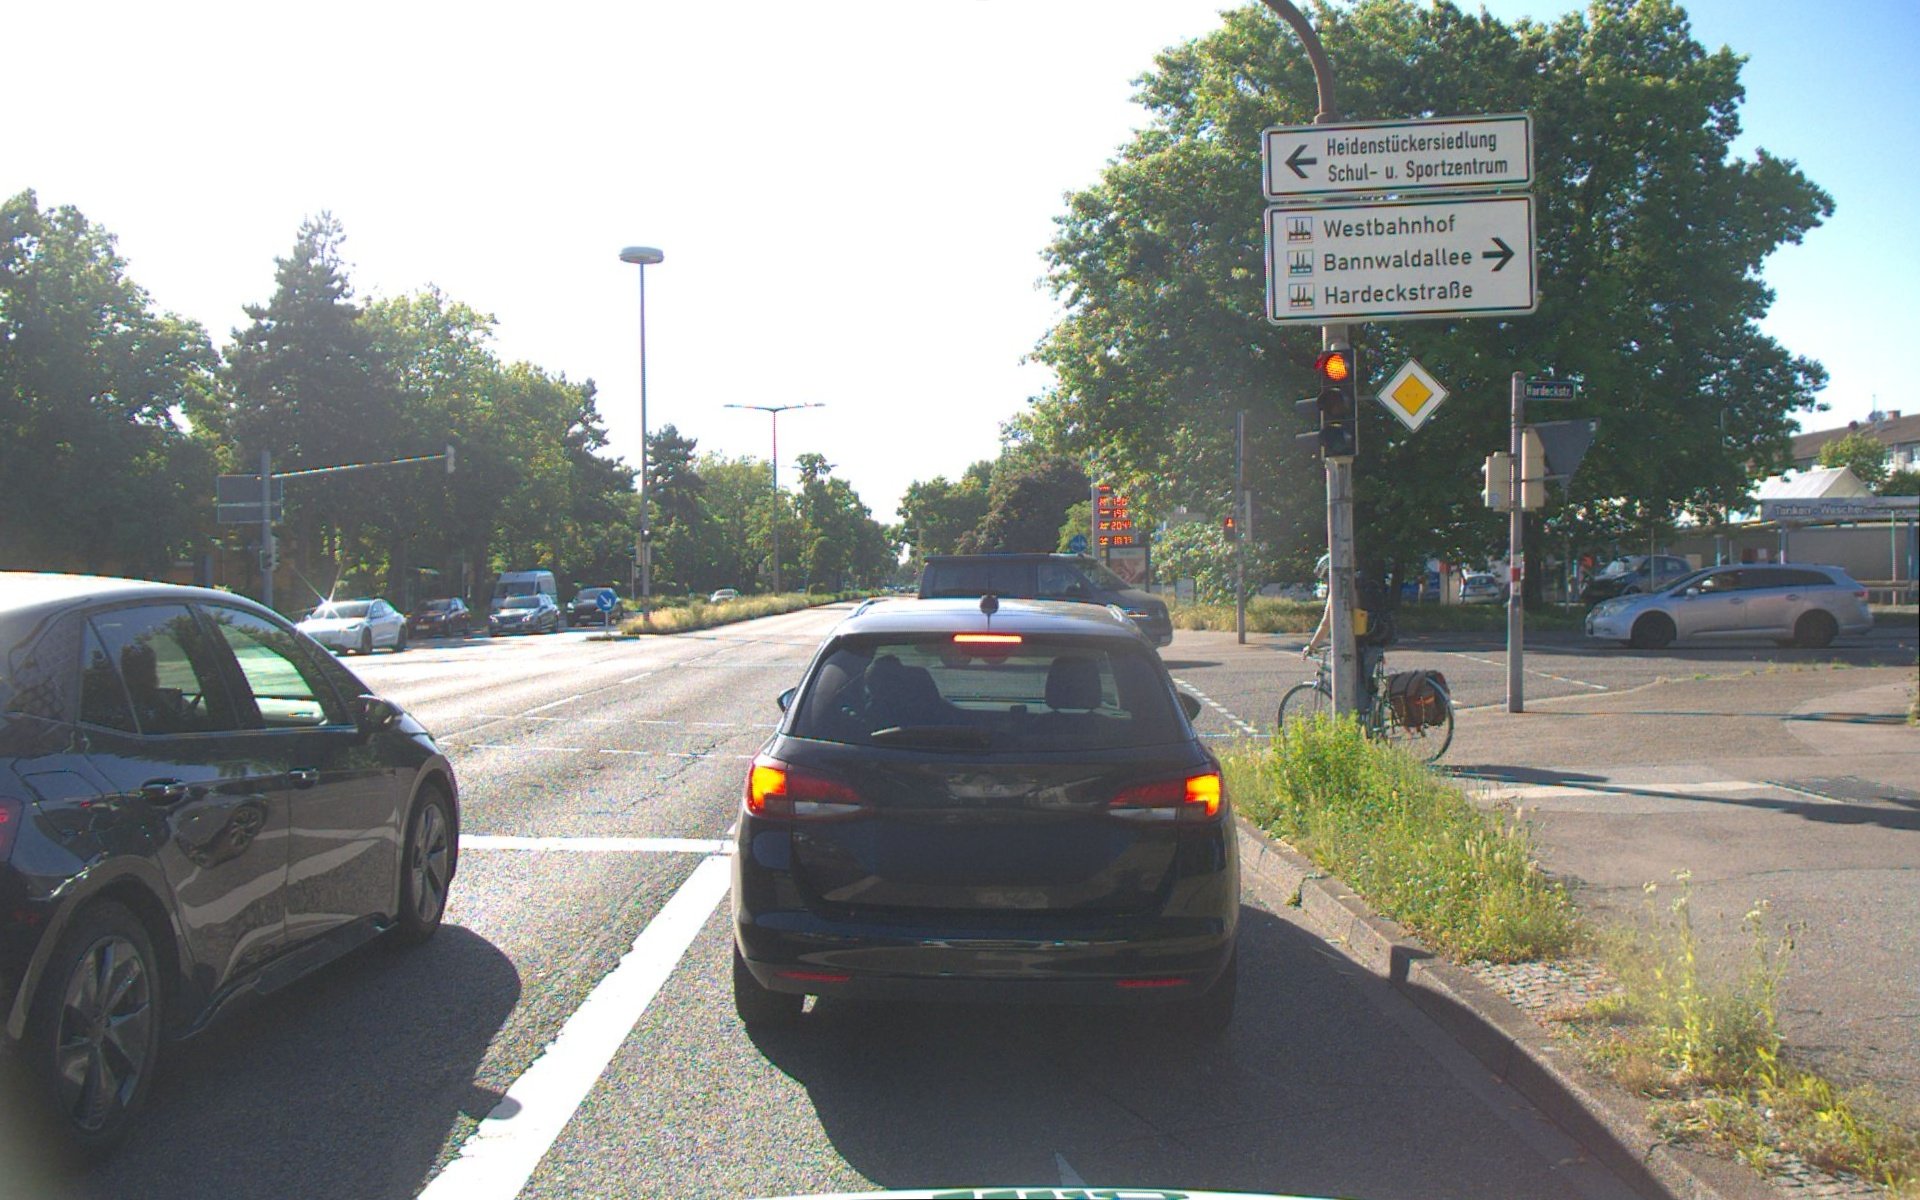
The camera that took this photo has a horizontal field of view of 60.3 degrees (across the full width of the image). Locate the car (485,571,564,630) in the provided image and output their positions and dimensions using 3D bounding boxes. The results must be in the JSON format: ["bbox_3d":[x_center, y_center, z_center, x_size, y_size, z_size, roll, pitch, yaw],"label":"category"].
[{"bbox_3d":[-19.940,0.003,76.039,2.057,2.536,6.003,-1,0,-1],"label":"car"}]

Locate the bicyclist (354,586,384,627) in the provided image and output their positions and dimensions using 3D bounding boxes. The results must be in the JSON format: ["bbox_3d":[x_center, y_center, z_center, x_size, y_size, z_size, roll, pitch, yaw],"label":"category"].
[{"bbox_3d":[-24.744,0.257,69.241,0.859,1.677,1.198,-2,0,-6],"label":"bicyclist"}]

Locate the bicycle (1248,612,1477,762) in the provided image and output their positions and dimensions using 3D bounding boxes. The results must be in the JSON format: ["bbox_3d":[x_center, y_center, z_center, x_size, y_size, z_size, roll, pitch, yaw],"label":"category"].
[{"bbox_3d":[3.225,0.701,13.371,0.533,1.117,1.748,-2,-2,-44],"label":"bicycle"}]

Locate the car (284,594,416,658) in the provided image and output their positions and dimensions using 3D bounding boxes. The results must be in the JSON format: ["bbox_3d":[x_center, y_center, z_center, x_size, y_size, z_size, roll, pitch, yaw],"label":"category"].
[{"bbox_3d":[-16.141,0.640,44.010,1.850,1.551,4.503,-1,0,-1],"label":"car"}]

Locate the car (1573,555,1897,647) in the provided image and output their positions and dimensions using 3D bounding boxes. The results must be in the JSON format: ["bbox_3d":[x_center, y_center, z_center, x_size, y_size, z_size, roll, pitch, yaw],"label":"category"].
[{"bbox_3d":[13.761,0.025,29.662,4.897,1.512,2.002,-1,0,11],"label":"car"}]

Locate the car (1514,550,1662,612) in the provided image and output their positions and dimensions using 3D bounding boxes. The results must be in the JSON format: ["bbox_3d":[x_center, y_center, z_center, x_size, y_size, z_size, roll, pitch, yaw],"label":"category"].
[{"bbox_3d":[19.000,-0.579,50.032,3.935,1.780,1.985,-2,1,-24],"label":"car"}]

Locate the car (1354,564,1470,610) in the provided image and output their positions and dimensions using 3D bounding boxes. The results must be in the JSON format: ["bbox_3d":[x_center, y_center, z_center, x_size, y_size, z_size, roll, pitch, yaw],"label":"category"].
[{"bbox_3d":[16.429,-0.468,60.061,3.837,1.544,1.732,-2,0,-24],"label":"car"}]

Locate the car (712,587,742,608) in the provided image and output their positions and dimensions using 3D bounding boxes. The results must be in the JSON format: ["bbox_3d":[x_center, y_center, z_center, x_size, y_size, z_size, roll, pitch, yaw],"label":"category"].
[{"bbox_3d":[-17.603,-0.205,124.962,1.740,1.488,4.164,-1,0,-1],"label":"car"}]

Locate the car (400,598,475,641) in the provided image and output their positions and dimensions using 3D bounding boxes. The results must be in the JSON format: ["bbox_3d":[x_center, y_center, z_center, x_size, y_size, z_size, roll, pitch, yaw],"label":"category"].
[{"bbox_3d":[-20.145,0.716,63.903,1.652,1.535,4.003,-1,0,-1],"label":"car"}]

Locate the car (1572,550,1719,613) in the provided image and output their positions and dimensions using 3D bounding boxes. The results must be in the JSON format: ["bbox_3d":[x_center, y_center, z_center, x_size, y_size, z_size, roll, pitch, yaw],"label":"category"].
[{"bbox_3d":[19.986,-0.537,48.197,3.934,1.709,1.732,-2,0,-24],"label":"car"}]

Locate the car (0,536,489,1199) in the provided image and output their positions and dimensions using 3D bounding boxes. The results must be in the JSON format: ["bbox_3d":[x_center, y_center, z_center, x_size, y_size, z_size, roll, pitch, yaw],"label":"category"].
[{"bbox_3d":[-2.999,0.660,5.605,1.650,1.608,4.206,0,0,-1],"label":"car"}]

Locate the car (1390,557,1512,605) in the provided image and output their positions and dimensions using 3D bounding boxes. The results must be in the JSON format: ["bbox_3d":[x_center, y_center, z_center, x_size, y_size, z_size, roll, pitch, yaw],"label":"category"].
[{"bbox_3d":[16.906,-0.655,56.986,3.837,1.544,1.732,-2,0,-24],"label":"car"}]

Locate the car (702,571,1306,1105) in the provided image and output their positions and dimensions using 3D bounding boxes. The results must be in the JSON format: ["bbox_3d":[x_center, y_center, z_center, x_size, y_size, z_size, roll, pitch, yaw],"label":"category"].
[{"bbox_3d":[0.101,0.686,6.838,1.721,1.521,4.206,0,0,-1],"label":"car"}]

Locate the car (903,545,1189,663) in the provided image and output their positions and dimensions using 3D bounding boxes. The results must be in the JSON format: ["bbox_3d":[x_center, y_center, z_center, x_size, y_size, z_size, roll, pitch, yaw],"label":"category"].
[{"bbox_3d":[1.555,0.097,30.455,4.902,2.027,1.915,-1,0,28],"label":"car"}]

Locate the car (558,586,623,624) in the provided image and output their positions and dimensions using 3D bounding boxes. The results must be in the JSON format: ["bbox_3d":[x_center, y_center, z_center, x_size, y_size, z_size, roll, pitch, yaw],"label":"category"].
[{"bbox_3d":[-16.753,0.200,75.240,1.953,1.629,4.615,-1,0,-1],"label":"car"}]

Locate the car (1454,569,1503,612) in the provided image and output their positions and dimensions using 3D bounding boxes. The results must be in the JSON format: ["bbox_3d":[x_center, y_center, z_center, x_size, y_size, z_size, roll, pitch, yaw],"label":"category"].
[{"bbox_3d":[21.947,-0.412,70.126,1.702,1.709,4.003,-1,0,14],"label":"car"}]

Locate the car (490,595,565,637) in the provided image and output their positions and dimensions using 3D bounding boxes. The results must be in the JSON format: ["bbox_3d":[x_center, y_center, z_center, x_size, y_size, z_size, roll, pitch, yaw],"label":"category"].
[{"bbox_3d":[-16.316,0.580,62.544,1.652,1.458,4.614,-1,0,-1],"label":"car"}]

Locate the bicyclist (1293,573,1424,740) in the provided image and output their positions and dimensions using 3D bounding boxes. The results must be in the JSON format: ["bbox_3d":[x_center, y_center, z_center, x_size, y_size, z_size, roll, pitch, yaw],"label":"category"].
[{"bbox_3d":[3.216,0.455,13.371,0.534,1.299,0.816,-2,-2,-44],"label":"bicyclist"}]
